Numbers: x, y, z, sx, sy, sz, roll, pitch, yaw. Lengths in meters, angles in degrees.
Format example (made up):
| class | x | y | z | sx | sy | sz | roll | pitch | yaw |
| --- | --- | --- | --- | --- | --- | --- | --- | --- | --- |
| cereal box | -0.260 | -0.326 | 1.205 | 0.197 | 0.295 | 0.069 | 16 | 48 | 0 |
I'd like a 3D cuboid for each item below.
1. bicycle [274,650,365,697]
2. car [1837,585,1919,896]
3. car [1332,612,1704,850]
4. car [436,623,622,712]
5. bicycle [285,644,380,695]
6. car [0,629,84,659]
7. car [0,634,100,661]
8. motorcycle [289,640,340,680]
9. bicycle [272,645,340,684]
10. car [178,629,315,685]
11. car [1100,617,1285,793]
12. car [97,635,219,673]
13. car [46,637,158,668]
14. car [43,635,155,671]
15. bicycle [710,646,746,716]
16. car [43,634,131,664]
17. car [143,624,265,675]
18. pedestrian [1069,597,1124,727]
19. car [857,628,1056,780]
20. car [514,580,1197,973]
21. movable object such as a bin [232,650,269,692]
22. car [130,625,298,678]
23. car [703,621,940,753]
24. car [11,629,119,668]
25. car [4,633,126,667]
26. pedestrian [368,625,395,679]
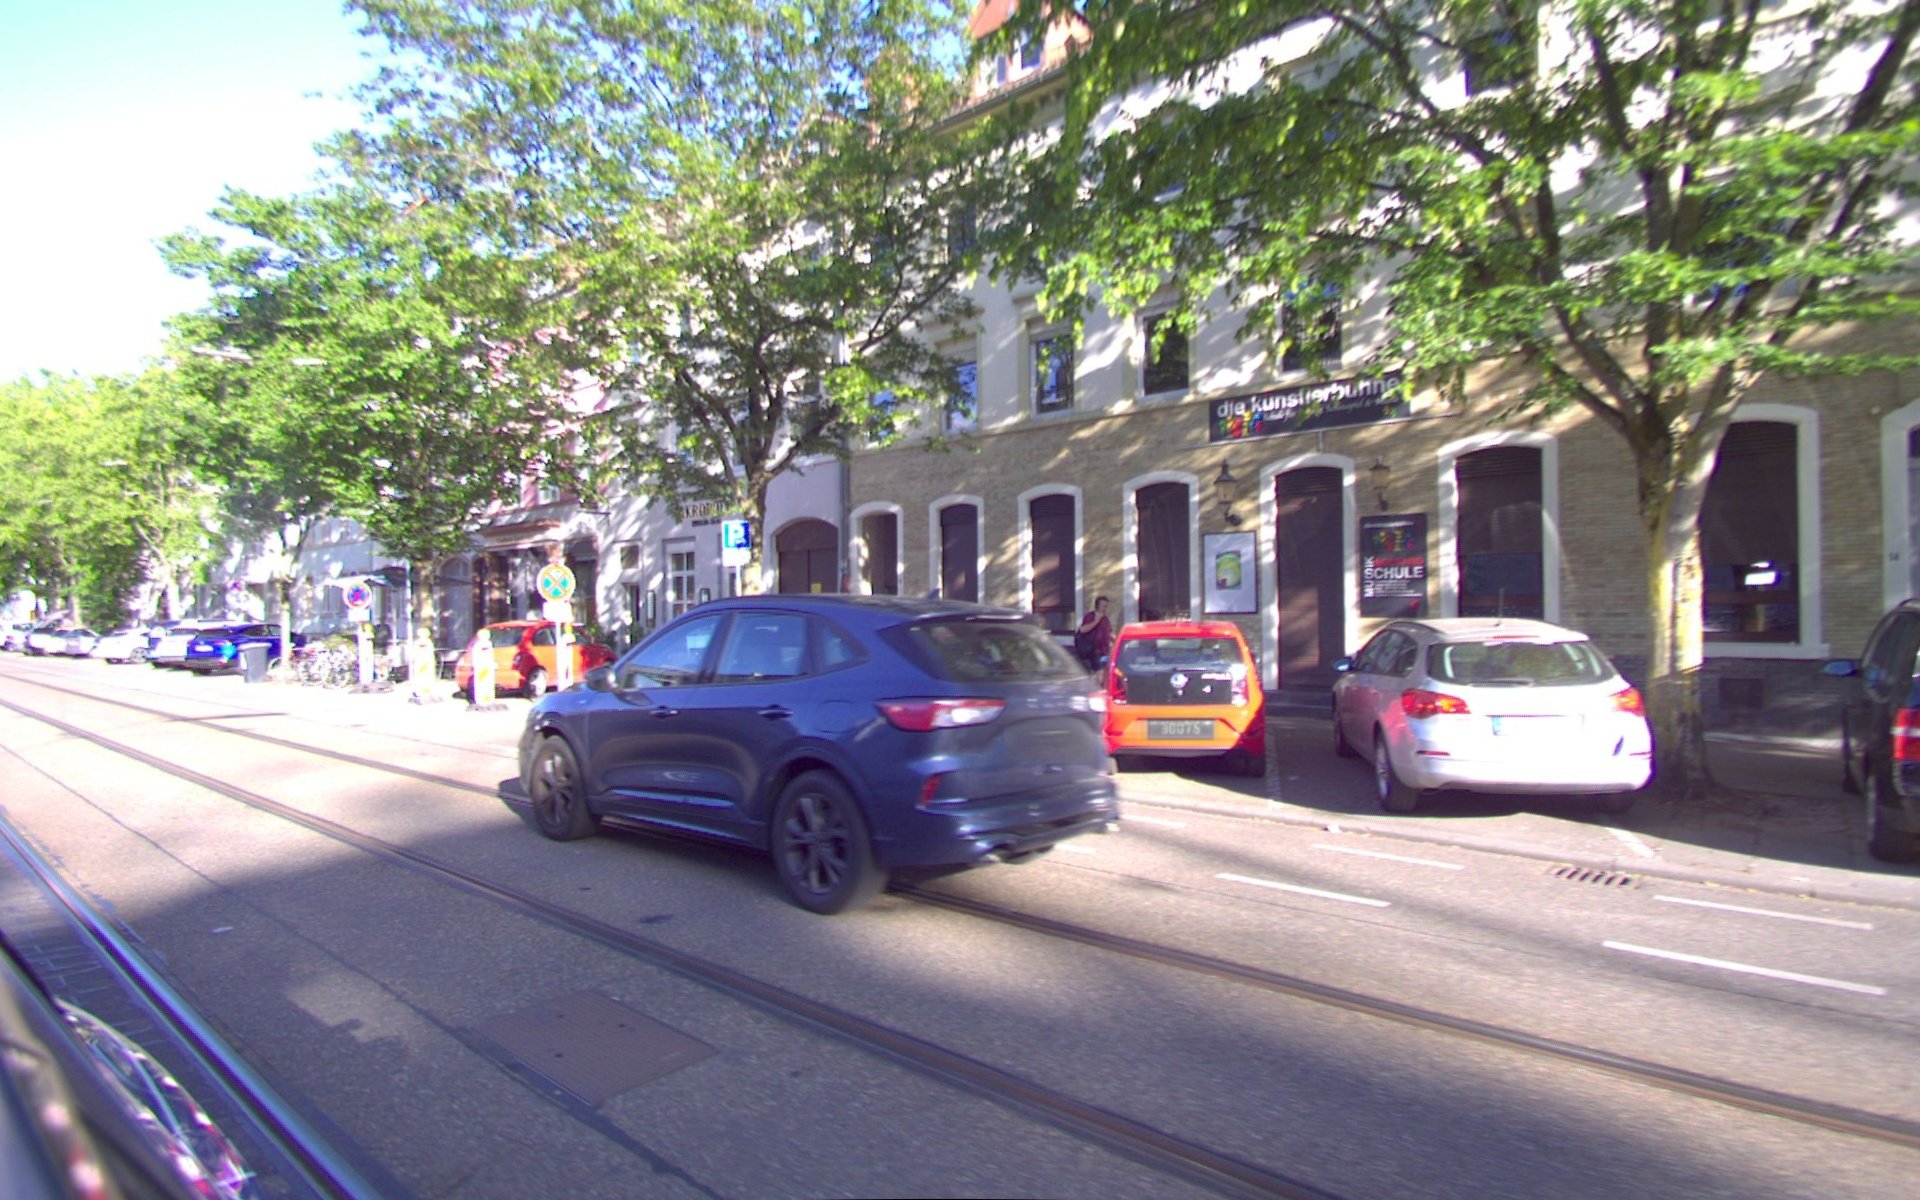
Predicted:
| class | x | y | z | sx | sy | sz | roll | pitch | yaw |
| --- | --- | --- | --- | --- | --- | --- | --- | --- | --- |
| bicycle | -17.181 | 1.963 | 27.186 | 0.568 | 1.087 | 1.946 | -2 | 0 | 43 |
| car | 7.231 | 0.752 | 6.768 | 1.839 | 1.690 | 4.064 | -2 | 0 | 39 |
| car | 4.476 | 0.912 | 8.868 | 1.823 | 1.524 | 4.098 | -2 | -1 | 14 |
| car | -8.777 | 1.332 | 20.930 | 1.653 | 1.565 | 3.607 | -3 | -1 | 15 |
| bicycle | -16.248 | 1.782 | 26.245 | 0.567 | 1.095 | 1.981 | -2 | 2 | 43 |
| car | -63.649 | 3.000 | 69.455 | 2.068 | 2.029 | 4.887 | -1 | -3 | 31 |
| car | -60.287 | 3.145 | 67.098 | 1.951 | 1.588 | 4.652 | -2 | -1 | 36 |
| motorcycle | -21.296 | 1.963 | 33.439 | 0.714 | 1.263 | 2.607 | 1 | -3 | -16 |
| bicycle | -18.380 | 1.812 | 28.472 | 0.387 | 0.995 | 1.588 | -2 | -1 | 30 |
| car | -23.218 | 1.803 | 33.117 | 1.553 | 1.621 | 3.897 | 0 | 0 | 5 |
| car | 2.465 | 0.993 | 10.852 | 1.597 | 1.504 | 3.360 | -2 | 0 | 13 |
| car | -34.130 | 2.292 | 43.150 | 1.873 | 1.541 | 3.621 | -1 | -2 | 21 |
| car | -44.762 | 2.733 | 52.902 | 1.693 | 1.564 | 4.136 | -1 | -3 | 25 |
| car | -42.962 | 2.612 | 50.586 | 1.690 | 1.689 | 3.972 | -2 | -2 | 21 |
| bicycle | -3.859 | 1.327 | 16.900 | 0.328 | 1.104 | 1.595 | 0 | -2 | -4 |
| car | -47.294 | 2.656 | 54.869 | 1.380 | 1.565 | 3.336 | -2 | -2 | 33 |
| car | -28.865 | 1.895 | 38.772 | 1.716 | 1.857 | 3.430 | -1 | -2 | 14 |
| pedestrian | 2.186 | 0.982 | 16.222 | 0.556 | 2.029 | 0.723 | -2 | -3 | 42 |
| car | 0.110 | 1.159 | 12.635 | 1.735 | 1.481 | 3.670 | -1 | 0 | 12 |
| car | -0.880 | 0.786 | 6.371 | 4.246 | 1.642 | 1.907 | -1 | -2 | 41 |
| movable object such as a bin | -19.520 | 1.950 | 27.844 | 0.710 | 1.086 | 0.676 | -3 | 0 | 42 |
| car | -27.099 | 1.841 | 37.038 | 2.182 | 1.808 | 4.930 | -1 | -2 | 6 |
| car | -1.759 | 1.112 | 14.412 | 1.925 | 1.502 | 4.184 | -2 | -1 | 14 |
| car | -51.959 | 2.764 | 58.806 | 2.161 | 2.134 | 4.393 | -2 | -2 | 39 |
| car | -49.736 | 2.745 | 56.332 | 2.161 | 1.737 | 4.781 | -2 | -2 | 39 |
| pedestrian | -19.915 | 1.787 | 34.837 | 0.624 | 1.852 | 0.636 | -2 | -3 | 42 |
